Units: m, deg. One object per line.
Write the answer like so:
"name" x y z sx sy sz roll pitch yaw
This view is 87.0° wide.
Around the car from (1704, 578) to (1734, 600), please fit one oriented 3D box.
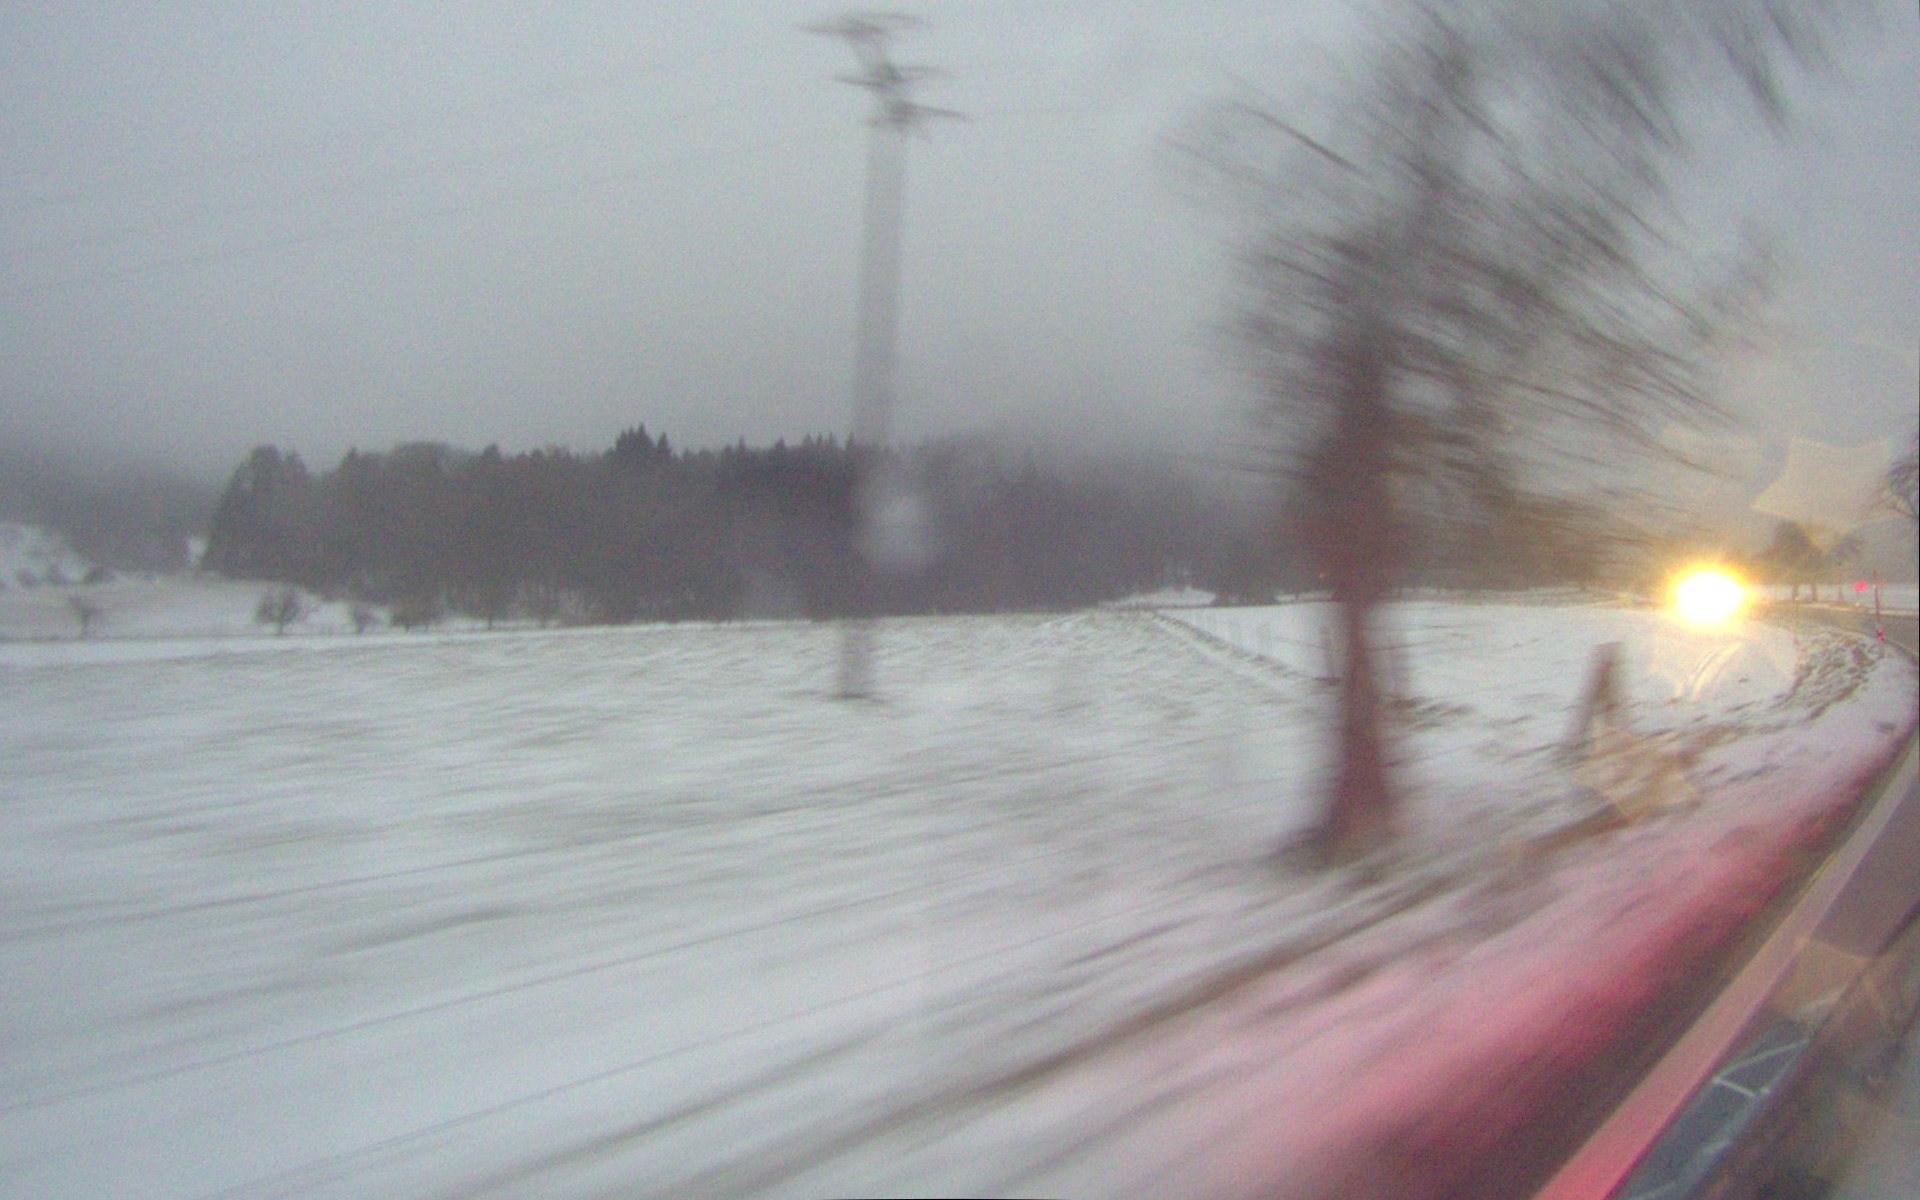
"car" 72.644 -1.071 96.860 1.986 2.039 3.953 -2 1 34
